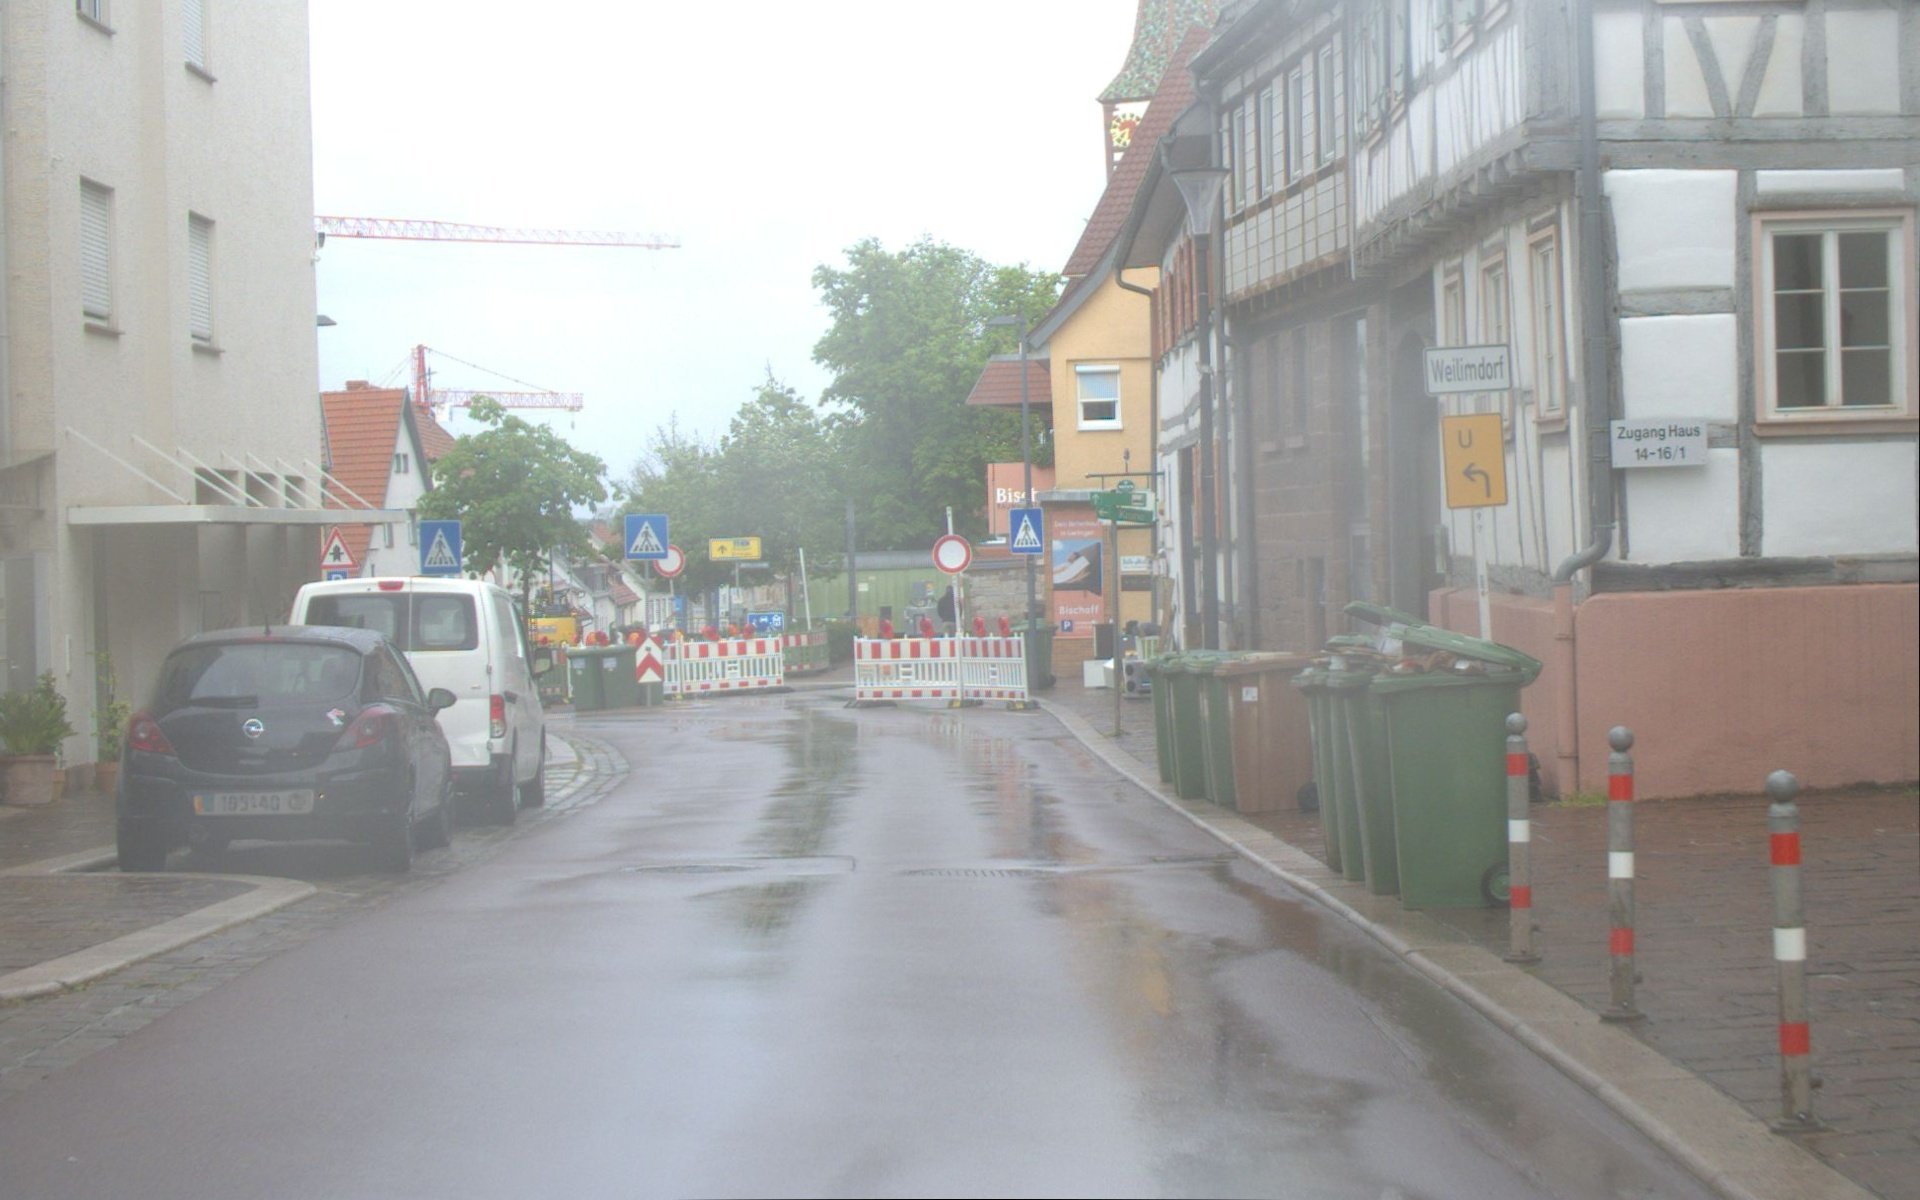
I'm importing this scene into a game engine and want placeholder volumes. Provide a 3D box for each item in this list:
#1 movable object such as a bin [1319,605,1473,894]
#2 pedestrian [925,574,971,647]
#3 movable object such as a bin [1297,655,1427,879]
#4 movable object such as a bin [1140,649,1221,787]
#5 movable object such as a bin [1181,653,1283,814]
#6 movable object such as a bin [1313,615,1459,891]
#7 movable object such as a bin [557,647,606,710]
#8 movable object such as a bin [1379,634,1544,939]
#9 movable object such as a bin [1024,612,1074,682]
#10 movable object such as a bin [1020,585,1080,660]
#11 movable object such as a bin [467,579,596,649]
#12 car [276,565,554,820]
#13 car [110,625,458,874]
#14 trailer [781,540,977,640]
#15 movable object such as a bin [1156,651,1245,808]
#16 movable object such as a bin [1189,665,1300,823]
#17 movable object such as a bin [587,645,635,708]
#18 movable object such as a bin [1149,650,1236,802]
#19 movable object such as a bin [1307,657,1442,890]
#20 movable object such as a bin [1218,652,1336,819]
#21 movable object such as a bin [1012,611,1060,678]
[{"bbox_3d":[1.987,0.674,15.726,0.638,1.286,0.632,-1,-1,4],"label":"movable object such as a bin"},{"bbox_3d":[-0.300,0.251,83.505,0.990,1.753,0.852,-1,-1,-7],"label":"pedestrian"},{"bbox_3d":[2.079,0.856,17.839,0.616,1.127,0.632,-1,-1,4],"label":"movable object such as a bin"},{"bbox_3d":[1.836,0.980,28.692,0.609,1.124,0.599,-1,-1,-1],"label":"movable object such as a bin"},{"bbox_3d":[1.980,0.965,25.058,0.638,1.143,0.632,-1,-1,-3],"label":"movable object such as a bin"},{"bbox_3d":[2.033,0.720,16.463,0.638,1.286,0.632,-1,-1,4],"label":"movable object such as a bin"},{"bbox_3d":[-6.382,1.318,57.919,0.541,1.033,0.571,-4,-2,32],"label":"movable object such as a bin"},{"bbox_3d":[2.168,0.795,14.915,0.638,1.286,0.632,-1,-1,4],"label":"movable object such as a bin"},{"bbox_3d":[1.451,0.762,55.928,0.678,1.062,0.540,-3,5,-9],"label":"movable object such as a bin"},{"bbox_3d":[1.943,0.473,74.023,1.065,1.507,1.242,-4,0,6],"label":"movable object such as a bin"},{"bbox_3d":[-12.783,0.424,102.855,3.402,2.007,3.478,-1,0,0],"label":"movable object such as a bin"},{"bbox_3d":[-4.215,0.687,27.161,1.723,1.819,4.429,-1,0,-3],"label":"car"},{"bbox_3d":[-4.112,0.863,21.420,1.680,1.384,3.826,-1,0,-5],"label":"car"},{"bbox_3d":[-2.495,-0.289,104.689,5.780,2.937,2.000,-1,-1,-6],"label":"trailer"},{"bbox_3d":[1.800,0.963,25.727,0.638,1.143,0.603,-1,-1,4],"label":"movable object such as a bin"},{"bbox_3d":[2.016,1.014,24.408,0.669,1.078,0.588,-2,-1,-3],"label":"movable object such as a bin"},{"bbox_3d":[-5.842,1.277,57.585,0.544,1.029,0.533,-4,-2,32],"label":"movable object such as a bin"},{"bbox_3d":[1.780,0.960,26.346,0.638,1.143,0.580,-1,-1,4],"label":"movable object such as a bin"},{"bbox_3d":[2.065,0.858,17.169,0.616,1.127,0.632,-1,-1,4],"label":"movable object such as a bin"},{"bbox_3d":[2.126,0.902,23.123,0.678,1.093,0.650,0,0,-5],"label":"movable object such as a bin"},{"bbox_3d":[1.250,0.726,56.545,0.616,1.062,0.539,-3,-1,15],"label":"movable object such as a bin"}]
